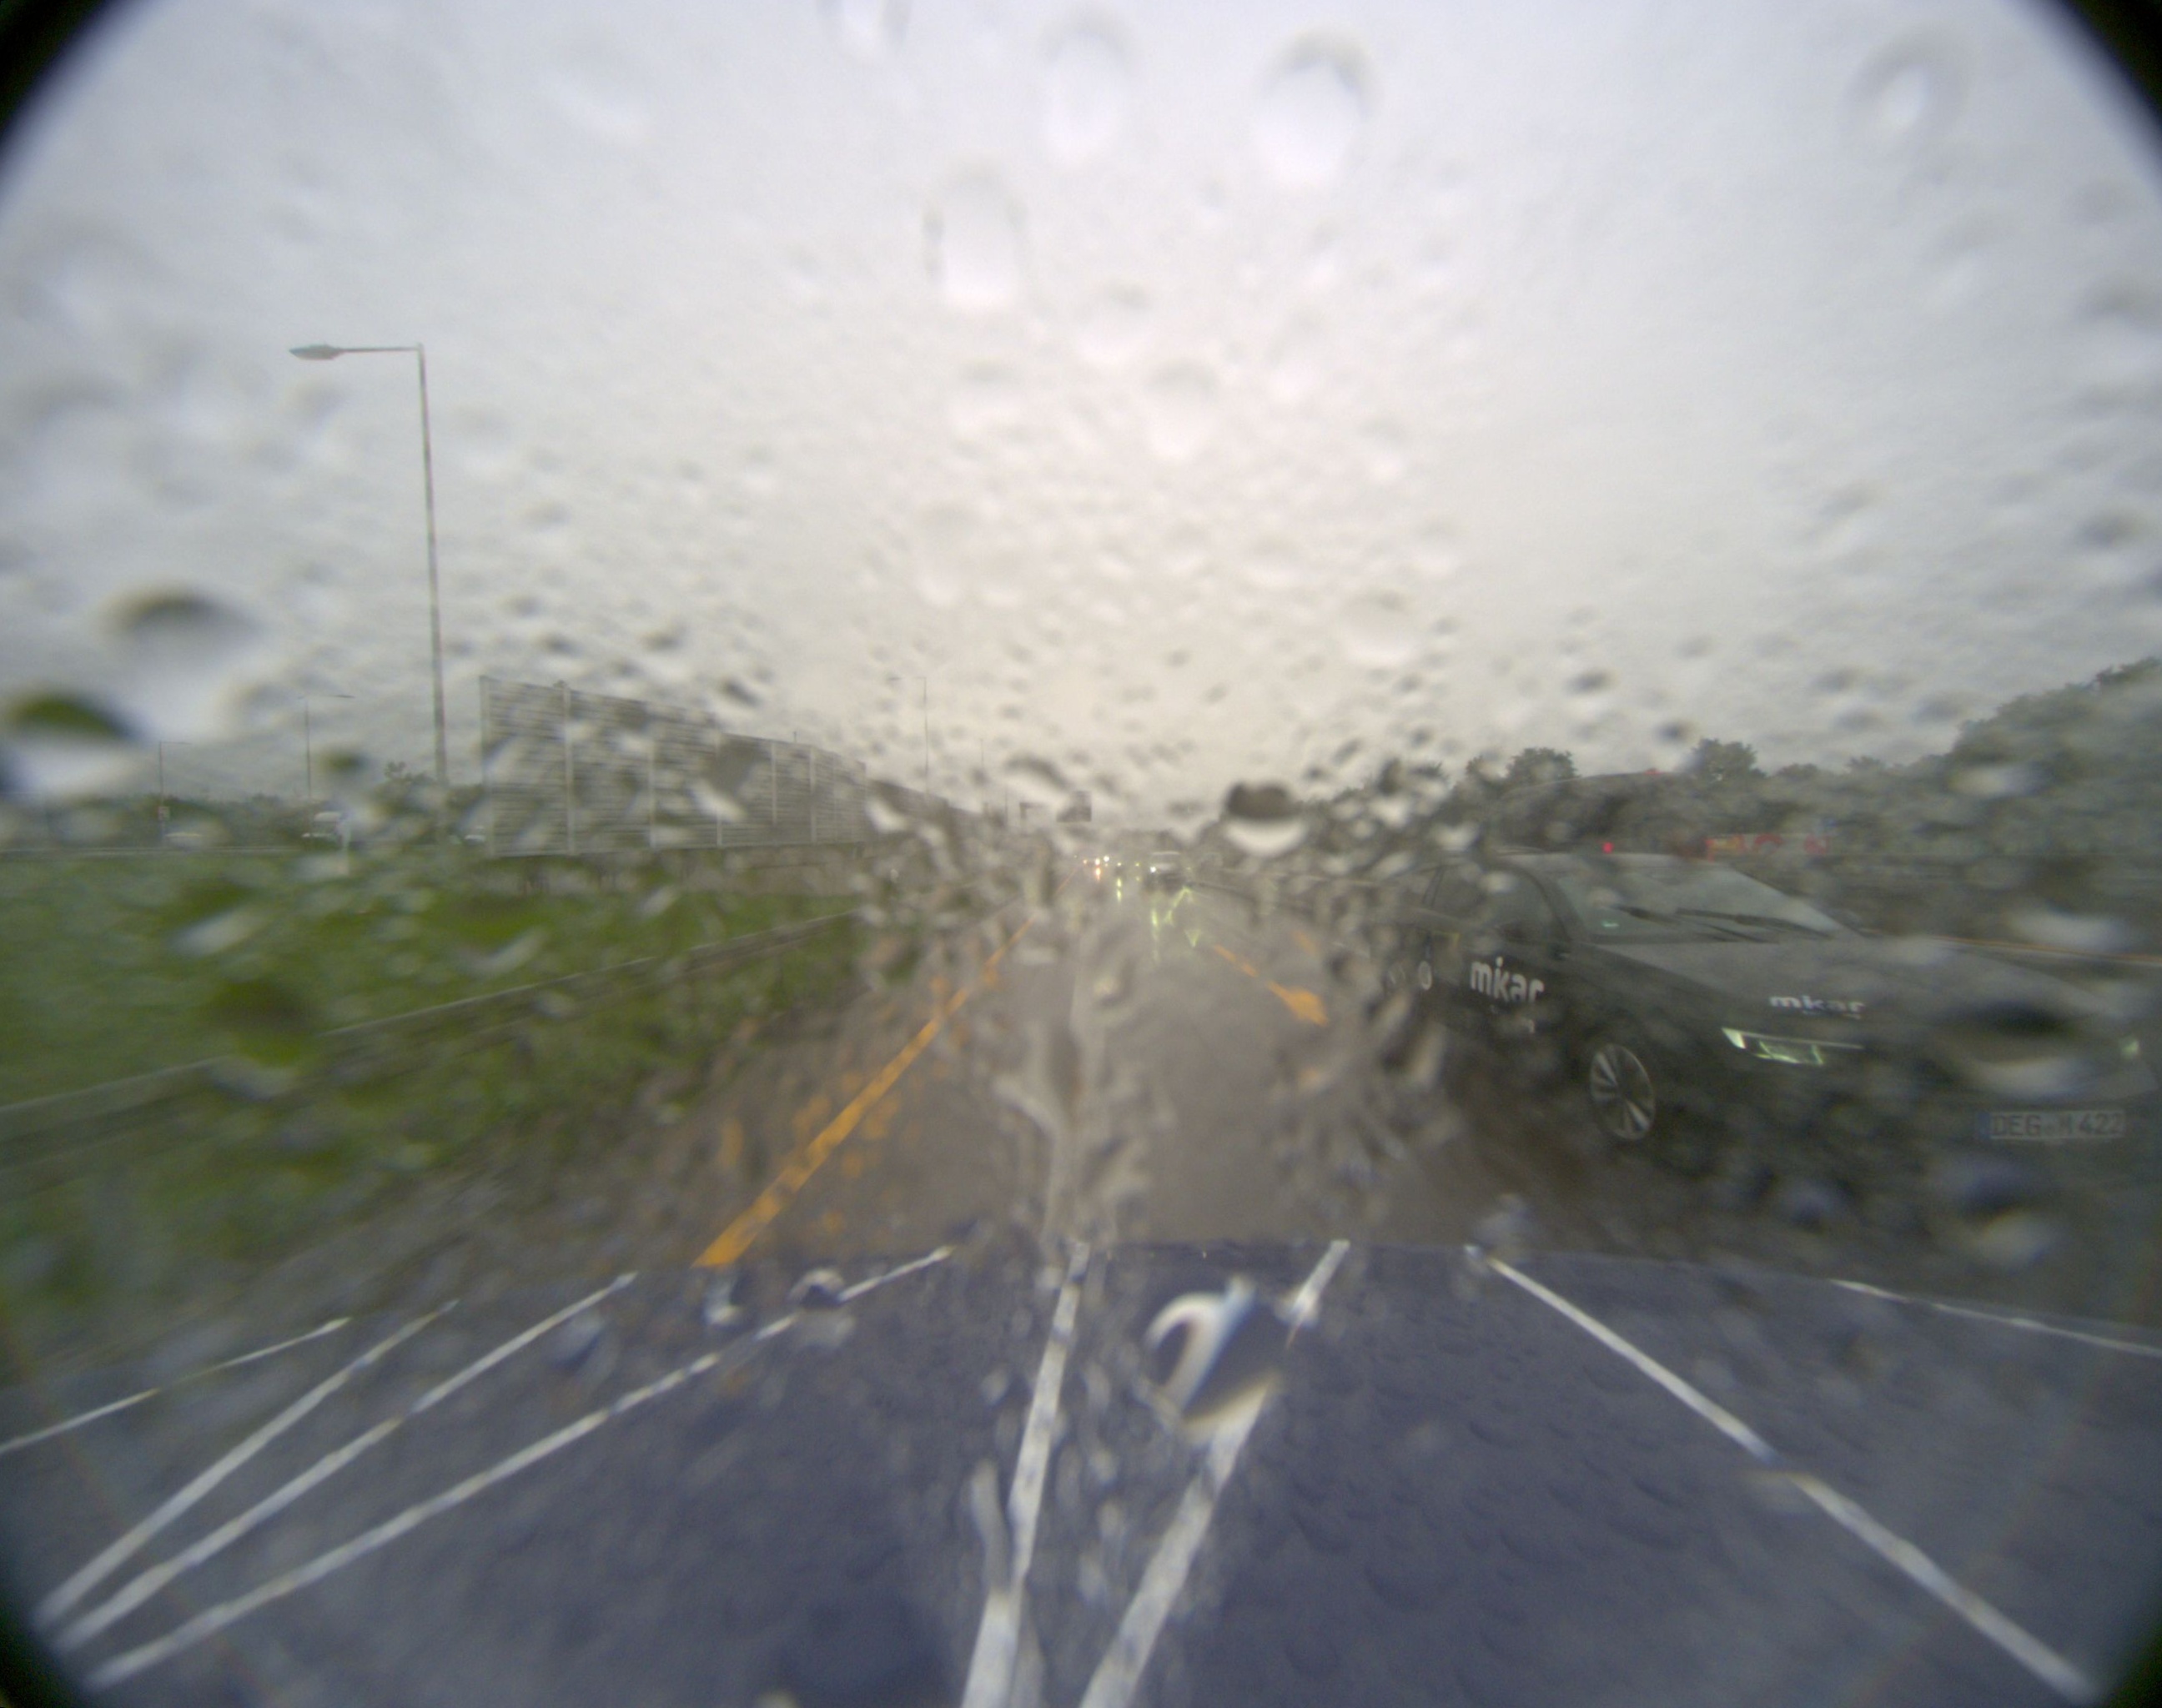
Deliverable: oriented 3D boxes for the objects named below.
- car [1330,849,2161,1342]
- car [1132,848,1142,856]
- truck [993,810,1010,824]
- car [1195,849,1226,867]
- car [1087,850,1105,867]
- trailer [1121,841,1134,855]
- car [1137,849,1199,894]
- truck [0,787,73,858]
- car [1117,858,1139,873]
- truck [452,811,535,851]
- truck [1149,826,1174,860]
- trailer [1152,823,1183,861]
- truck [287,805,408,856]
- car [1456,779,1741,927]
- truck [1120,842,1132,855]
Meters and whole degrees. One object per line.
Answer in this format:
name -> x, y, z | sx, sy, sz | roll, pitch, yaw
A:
car -> 3.382, 0.764, 4.841 | 1.944, 1.519, 4.795 | -2, 0, -1
car -> 11.273, -0.385, 153.543 | 1.573, 1.427, 3.892 | -1, 1, 0
truck -> -11.844, -5.509, 113.285 | 1.998, 2.002, 4.057 | -2, 2, 0
car -> 11.015, 0.290, 65.121 | 1.732, 1.429, 5.437 | -3, 0, 1
car -> 1.773, 0.514, 88.838 | 1.998, 1.762, 3.999 | -2, 2, 2
trailer -> 11.808, -1.504, 192.653 | 2.668, 3.343, 9.713 | -2, 0, 0
car -> 3.720, 0.698, 33.161 | 1.972, 1.671, 3.997 | -2, 2, -3
truck -> -65.194, -1.791, 43.621 | 2.870, 4.178, 8.971 | -2, 2, -5
car -> 3.603, 0.888, 58.428 | 1.335, 1.105, 3.198 | 1, 0, -2
truck -> -65.182, -2.552, 84.591 | 2.869, 4.178, 7.874 | -2, 2, 0
truck -> 11.000, -1.457, 104.359 | 2.615, 4.363, 6.289 | -2, 1, 1
trailer -> 10.890, -1.429, 97.014 | 2.587, 4.431, 13.551 | -2, 0, 1
truck -> -65.276, -2.090, 67.975 | 2.869, 4.178, 7.874 | -2, 2, 0
car -> 10.355, -0.039, 16.061 | 2.075, 2.503, 6.176 | 0, 1, 3
truck -> 11.882, -1.526, 202.281 | 2.646, 3.328, 9.551 | -2, 0, 0
